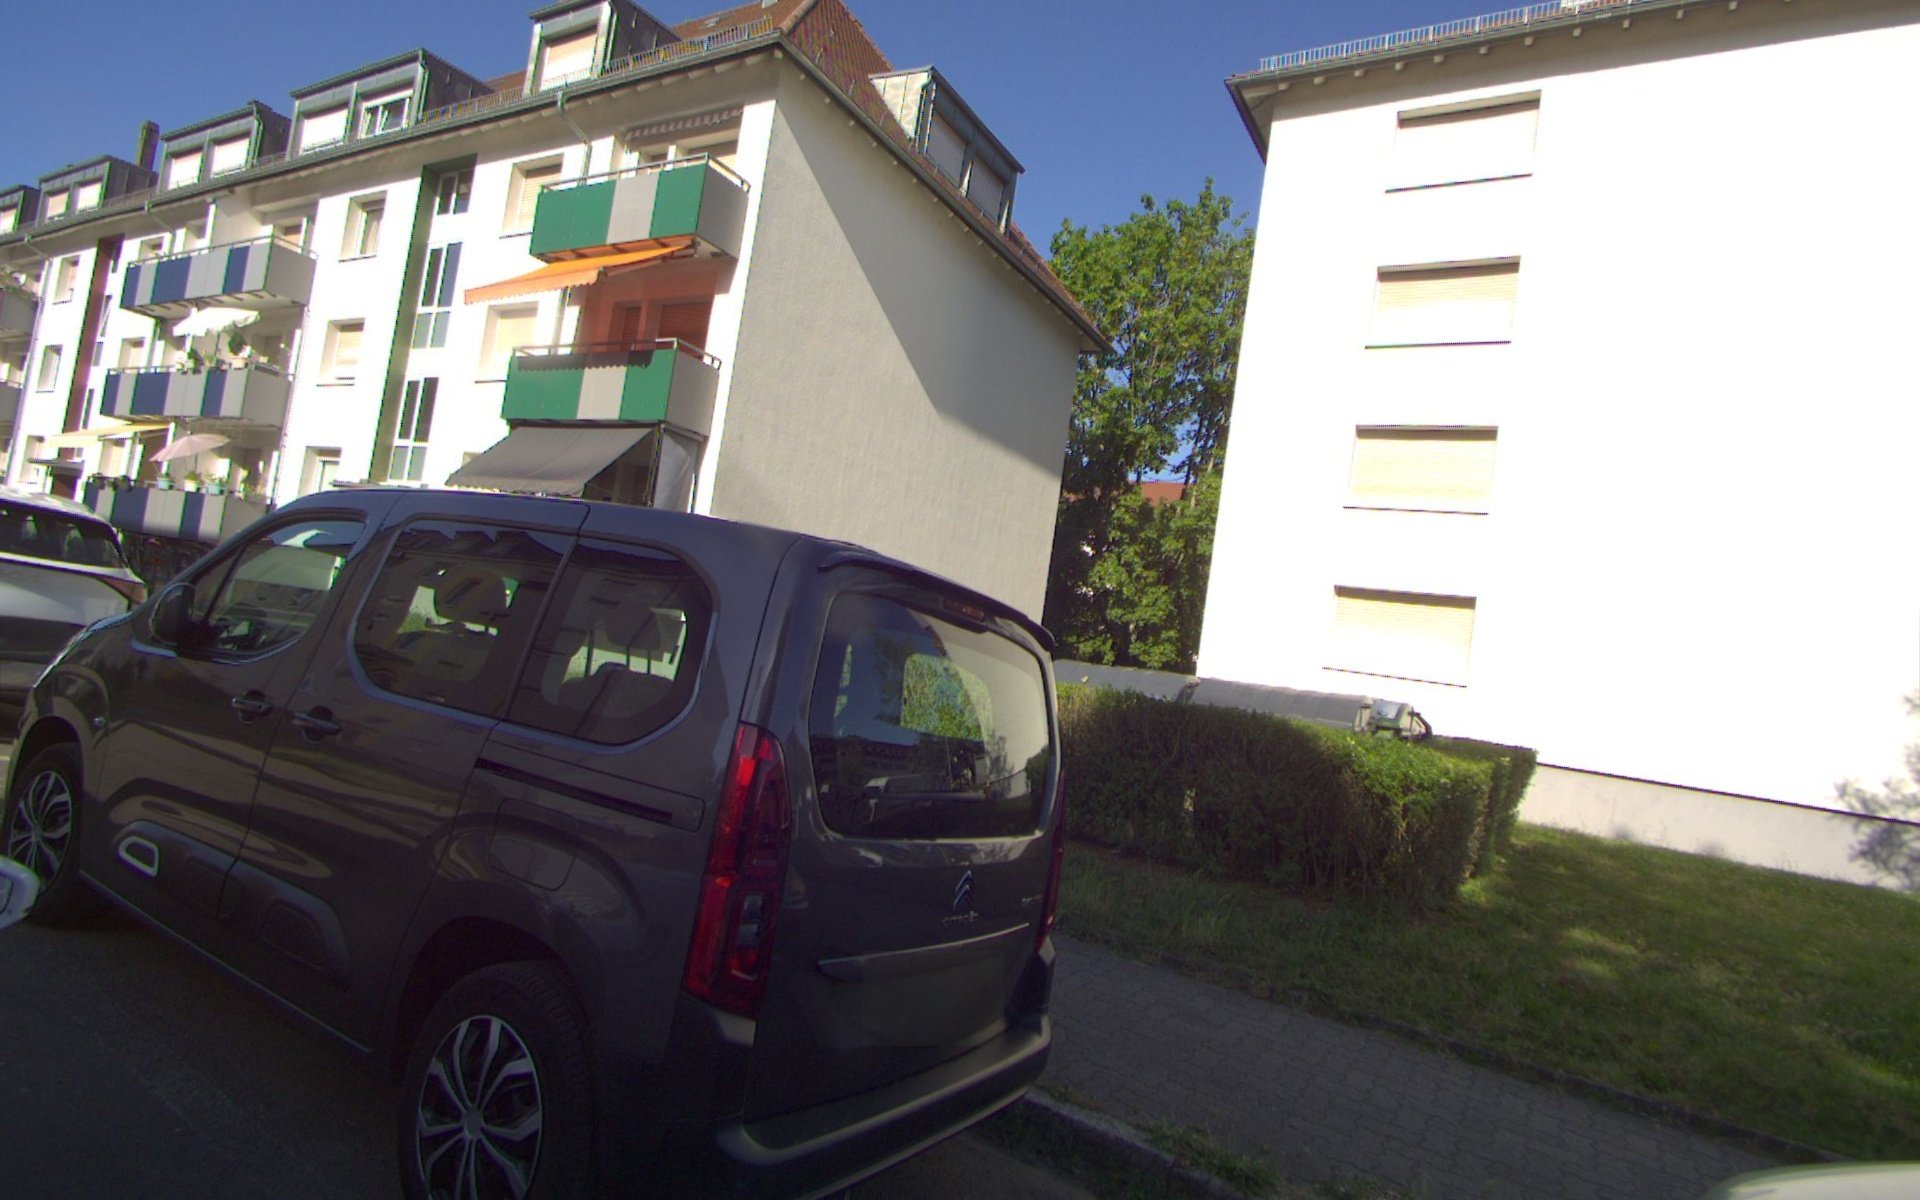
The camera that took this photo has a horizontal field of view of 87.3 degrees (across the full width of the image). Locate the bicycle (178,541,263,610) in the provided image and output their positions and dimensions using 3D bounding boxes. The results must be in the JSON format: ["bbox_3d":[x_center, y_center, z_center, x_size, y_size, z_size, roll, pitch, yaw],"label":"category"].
[{"bbox_3d":[-14.371,-0.488,19.527,1.799,1.115,0.560,7,-3,32],"label":"bicycle"}]

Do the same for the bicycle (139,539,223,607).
[{"bbox_3d":[-14.684,-0.520,18.959,1.834,1.065,0.515,7,-3,32],"label":"bicycle"}]

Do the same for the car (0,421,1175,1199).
[{"bbox_3d":[-1.655,0.481,3.675,4.224,1.749,1.869,7,-4,32],"label":"car"}]

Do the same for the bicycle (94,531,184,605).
[{"bbox_3d":[-14.842,-0.590,18.173,1.869,1.104,0.560,7,-3,32],"label":"bicycle"}]

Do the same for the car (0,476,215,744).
[{"bbox_3d":[-7.555,-0.136,7.202,4.055,1.609,1.989,7,-4,31],"label":"car"}]

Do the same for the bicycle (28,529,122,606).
[{"bbox_3d":[-15.258,-0.572,17.333,1.869,1.104,0.560,7,-3,32],"label":"bicycle"}]

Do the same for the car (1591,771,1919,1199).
[{"bbox_3d":[2.871,1.234,0.813,3.833,1.444,1.659,7,-4,29],"label":"car"}]
